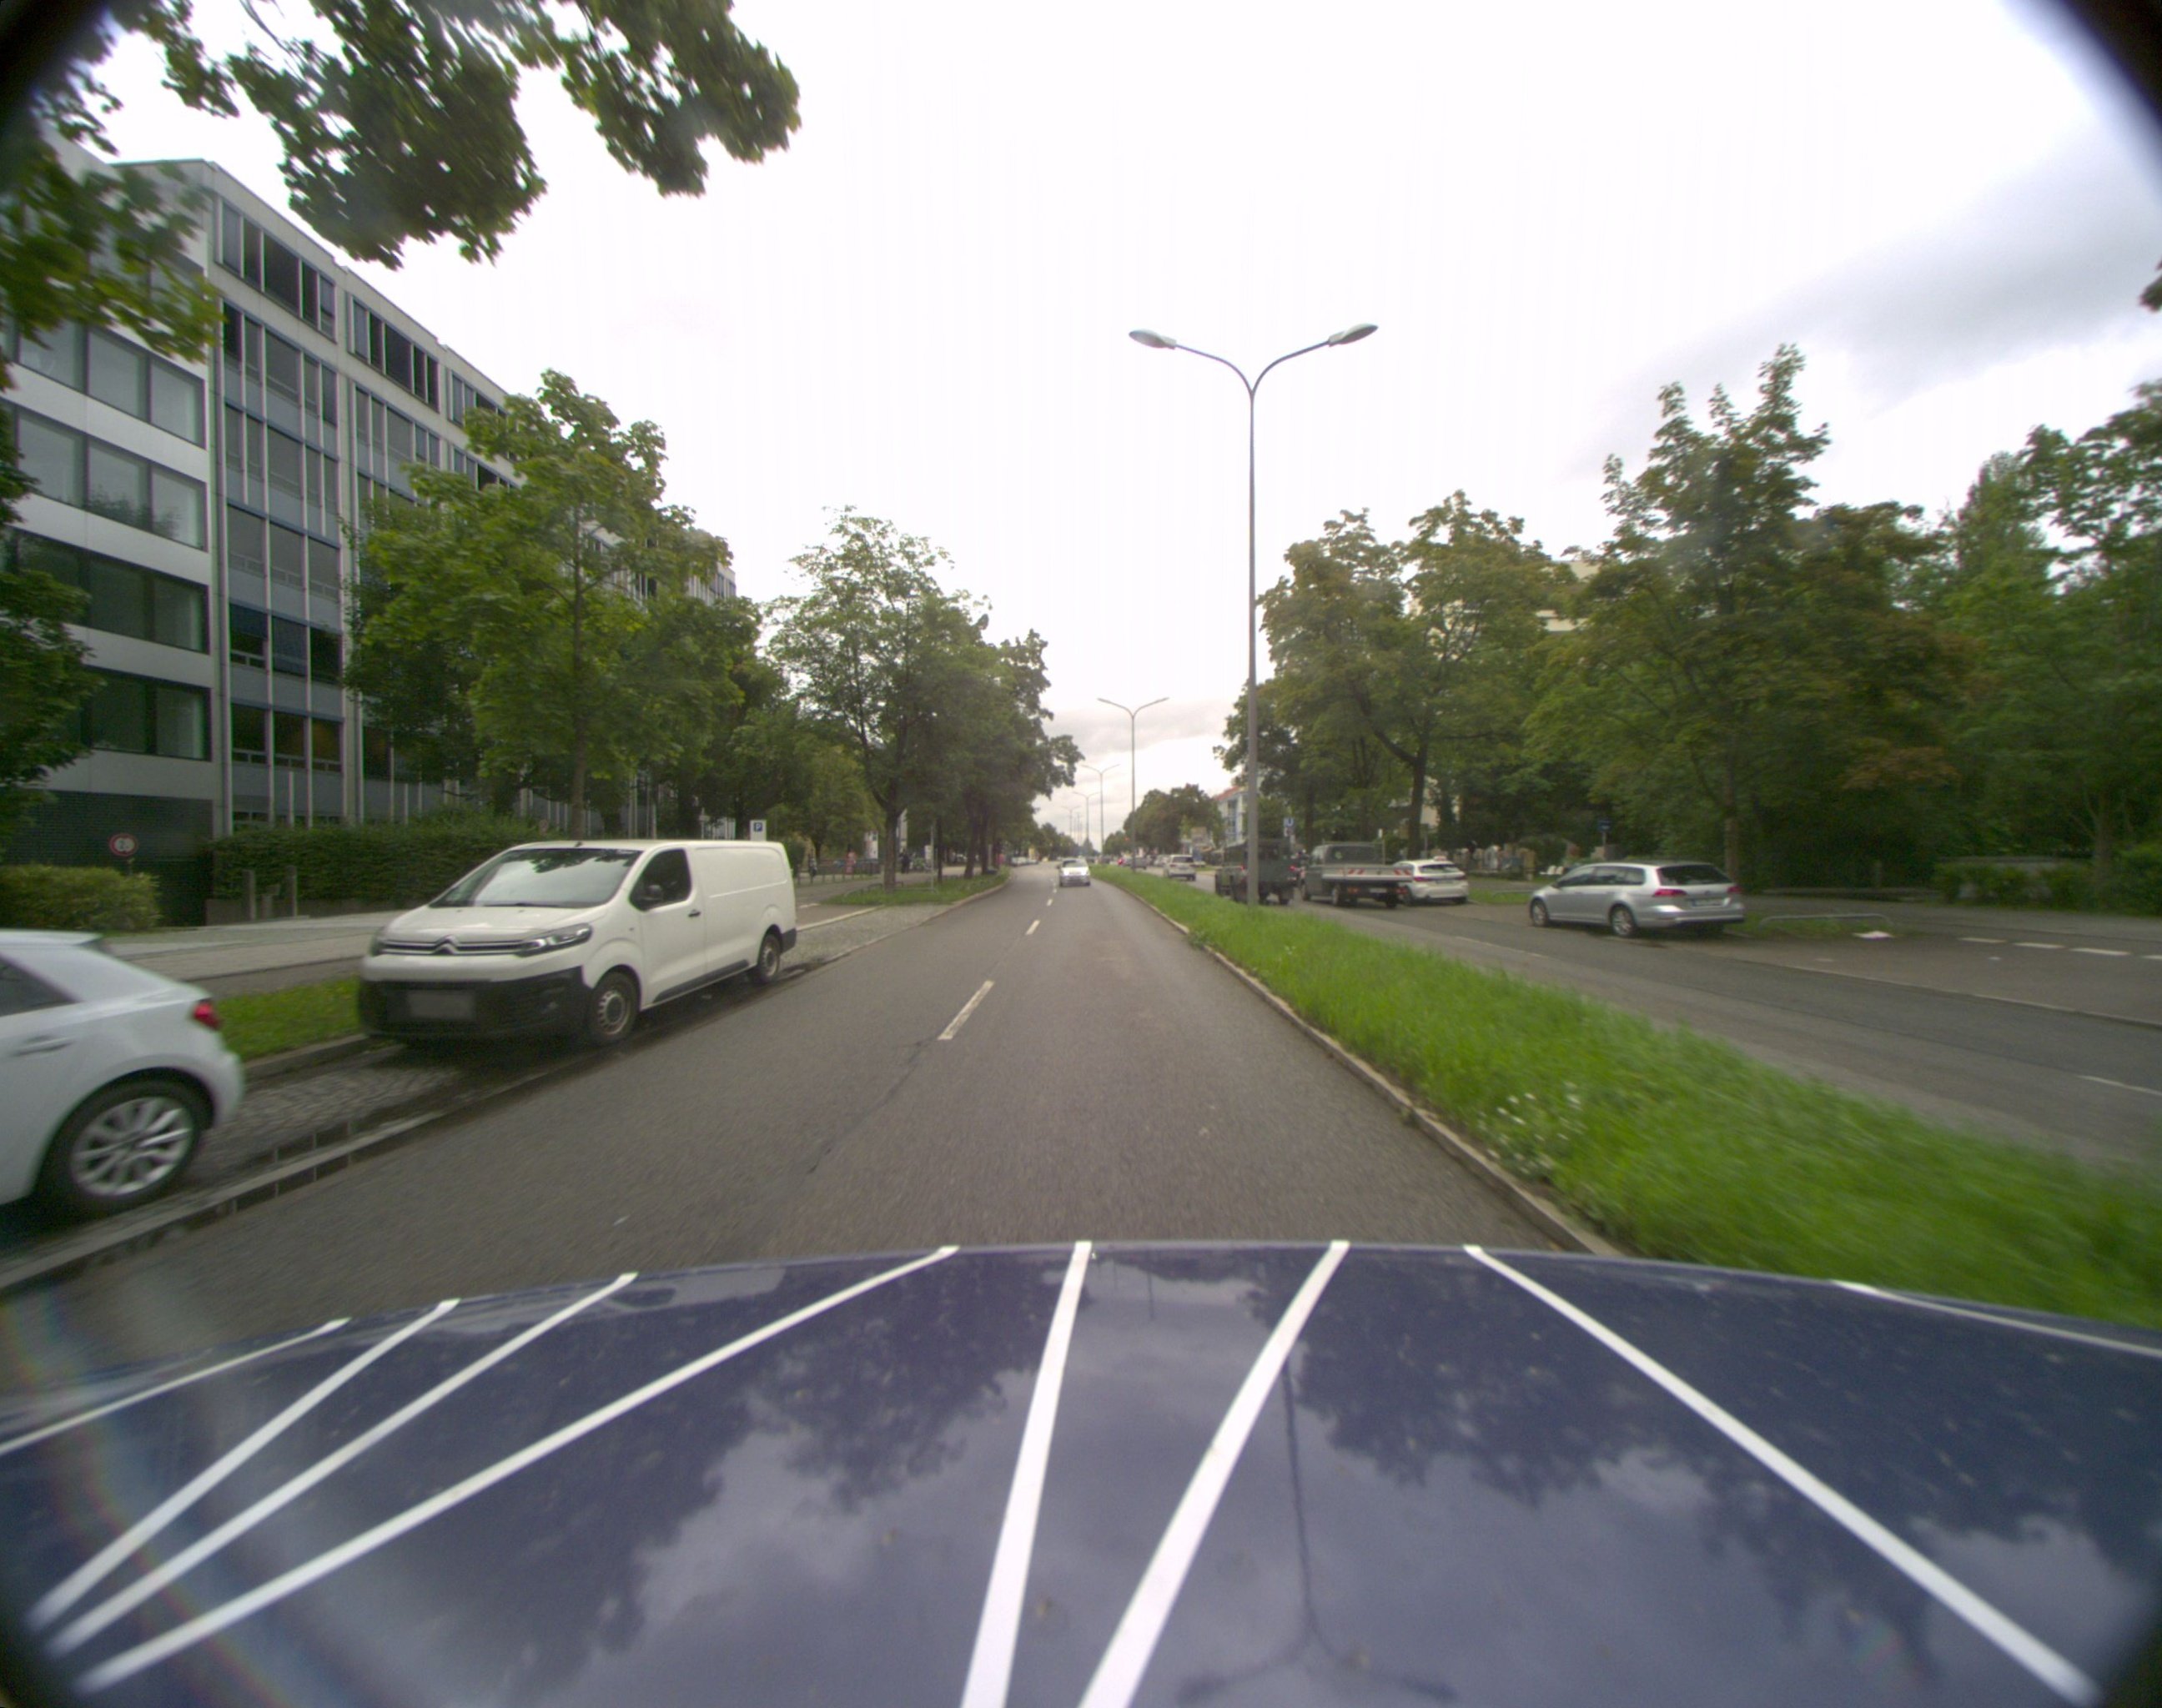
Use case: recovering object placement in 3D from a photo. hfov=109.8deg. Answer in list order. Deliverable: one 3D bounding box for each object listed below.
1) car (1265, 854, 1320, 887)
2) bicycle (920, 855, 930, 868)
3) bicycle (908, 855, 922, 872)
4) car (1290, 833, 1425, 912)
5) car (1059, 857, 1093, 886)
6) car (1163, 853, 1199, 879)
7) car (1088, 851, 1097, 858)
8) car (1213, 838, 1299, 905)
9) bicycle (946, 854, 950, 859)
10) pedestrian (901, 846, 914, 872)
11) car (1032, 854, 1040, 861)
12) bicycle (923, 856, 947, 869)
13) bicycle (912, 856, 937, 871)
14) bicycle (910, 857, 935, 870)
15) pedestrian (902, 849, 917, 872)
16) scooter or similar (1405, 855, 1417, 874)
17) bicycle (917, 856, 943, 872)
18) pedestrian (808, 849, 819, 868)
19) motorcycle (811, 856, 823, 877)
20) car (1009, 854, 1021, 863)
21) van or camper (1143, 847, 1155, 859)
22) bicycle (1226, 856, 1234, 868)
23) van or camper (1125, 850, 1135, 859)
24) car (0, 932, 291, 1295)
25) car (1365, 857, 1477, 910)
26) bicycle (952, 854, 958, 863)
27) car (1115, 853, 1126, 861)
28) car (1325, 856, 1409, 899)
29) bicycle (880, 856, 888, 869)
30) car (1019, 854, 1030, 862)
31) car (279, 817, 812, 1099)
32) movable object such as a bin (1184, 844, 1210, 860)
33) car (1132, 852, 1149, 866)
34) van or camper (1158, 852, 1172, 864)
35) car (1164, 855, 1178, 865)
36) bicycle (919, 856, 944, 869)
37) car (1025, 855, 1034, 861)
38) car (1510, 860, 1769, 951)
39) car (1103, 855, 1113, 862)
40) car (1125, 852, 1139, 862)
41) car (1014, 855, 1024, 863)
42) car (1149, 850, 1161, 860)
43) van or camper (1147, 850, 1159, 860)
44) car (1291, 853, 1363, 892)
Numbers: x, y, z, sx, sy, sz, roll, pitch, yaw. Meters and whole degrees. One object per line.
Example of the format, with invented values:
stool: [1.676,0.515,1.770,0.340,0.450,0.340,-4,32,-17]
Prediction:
car: [11.392,0.847,41.177,1.743,1.634,4.685,-2,0,1]
bicycle: [-13.978,0.661,68.118,0.489,1.182,1.954,0,0,-2]
bicycle: [-12.788,0.753,58.579,0.531,1.219,1.863,2,-1,5]
car: [8.645,0.518,24.445,2.214,2.181,5.799,1,0,0]
car: [-0.237,0.899,40.802,1.679,1.433,3.735,0,0,1]
car: [6.524,0.754,49.907,1.838,1.633,4.350,0,0,0]
car: [2.309,0.161,159.086,1.787,1.397,4.101,0,0,-1]
car: [5.669,0.528,25.194,1.785,2.017,4.818,0,0,0]
bicycle: [-25.966,0.546,148.231,0.572,0.935,2.064,0,1,-1]
pedestrian: [-12.819,0.385,56.072,0.652,1.888,0.750,0,0,15]
car: [-10.557,0.809,176.831,1.590,1.495,3.735,0,0,1]
bicycle: [-12.938,0.785,67.259,2.037,1.093,0.578,2,1,-45]
bicycle: [-12.842,0.793,62.376,1.959,1.101,0.579,5,-3,-44]
bicycle: [-13.187,0.801,63.134,1.959,1.077,0.595,3,-2,-44]
pedestrian: [-12.419,0.473,55.098,0.784,1.704,0.751,0,0,14]
scooter or similar: [19.725,0.617,45.422,0.436,1.120,1.291,0,0,14]
bicycle: [-12.236,0.790,61.487,1.958,1.181,0.595,3,-1,-33]
pedestrian: [-24.740,0.379,70.267,0.687,1.762,0.770,0,0,11]
motorcycle: [-16.873,0.756,48.586,0.550,1.311,2.071,0,0,-14]
car: [-11.193,0.735,129.174,1.866,1.581,4.602,0,0,-2]
van or camper: [14.279,-0.113,159.658,2.055,2.472,5.548,0,0,0]
bicycle: [14.548,0.771,74.386,0.409,1.071,1.955,-4,0,3]
van or camper: [11.589,0.184,179.328,2.020,2.004,5.198,0,0,1]
car: [-5.380,1.143,2.201,1.706,1.389,4.233,0,0,1]
car: [11.132,0.912,25.225,1.743,1.521,4.475,-2,0,1]
bicycle: [-17.658,0.677,106.400,0.622,1.243,1.919,0,0,-6]
car: [6.853,0.541,131.394,1.696,1.394,3.967,0,0,0]
car: [11.278,0.875,30.258,1.743,1.474,4.334,-3,0,1]
bicycle: [-17.821,0.738,68.649,0.513,1.182,2.140,0,0,-10]
car: [-11.077,0.745,149.033,1.682,1.522,4.096,0,0,1]
car: [-5.082,0.792,8.584,1.992,2.145,5.555,0,0,1]
movable object such as a bin: [13.874,-0.241,90.763,2.199,1.941,3.998,0,0,-5]
car: [7.216,0.595,92.094,1.770,1.615,4.376,0,0,1]
van or camper: [13.697,0.676,124.255,1.809,1.956,5.211,0,0,1]
car: [13.460,0.924,114.050,1.651,1.480,3.902,0,0,-1]
bicycle: [-12.928,0.766,65.678,2.045,1.083,0.603,1,2,-44]
car: [-10.820,0.886,159.738,1.590,1.310,3.735,0,0,1]
car: [11.023,0.917,15.560,1.741,1.440,4.822,-3,0,1]
car: [5.574,0.858,157.941,1.962,1.471,4.259,0,0,2]
car: [7.576,0.404,113.067,1.920,1.475,4.865,0,0,1]
car: [-11.349,0.842,138.849,1.627,1.373,4.194,1,0,-1]
car: [14.029,0.177,144.123,1.801,1.986,4.546,0,0,1]
van or camper: [14.215,0.184,150.156,2.025,1.930,4.704,0,0,1]
car: [11.354,0.822,35.435,1.743,1.642,4.606,-3,0,-1]
